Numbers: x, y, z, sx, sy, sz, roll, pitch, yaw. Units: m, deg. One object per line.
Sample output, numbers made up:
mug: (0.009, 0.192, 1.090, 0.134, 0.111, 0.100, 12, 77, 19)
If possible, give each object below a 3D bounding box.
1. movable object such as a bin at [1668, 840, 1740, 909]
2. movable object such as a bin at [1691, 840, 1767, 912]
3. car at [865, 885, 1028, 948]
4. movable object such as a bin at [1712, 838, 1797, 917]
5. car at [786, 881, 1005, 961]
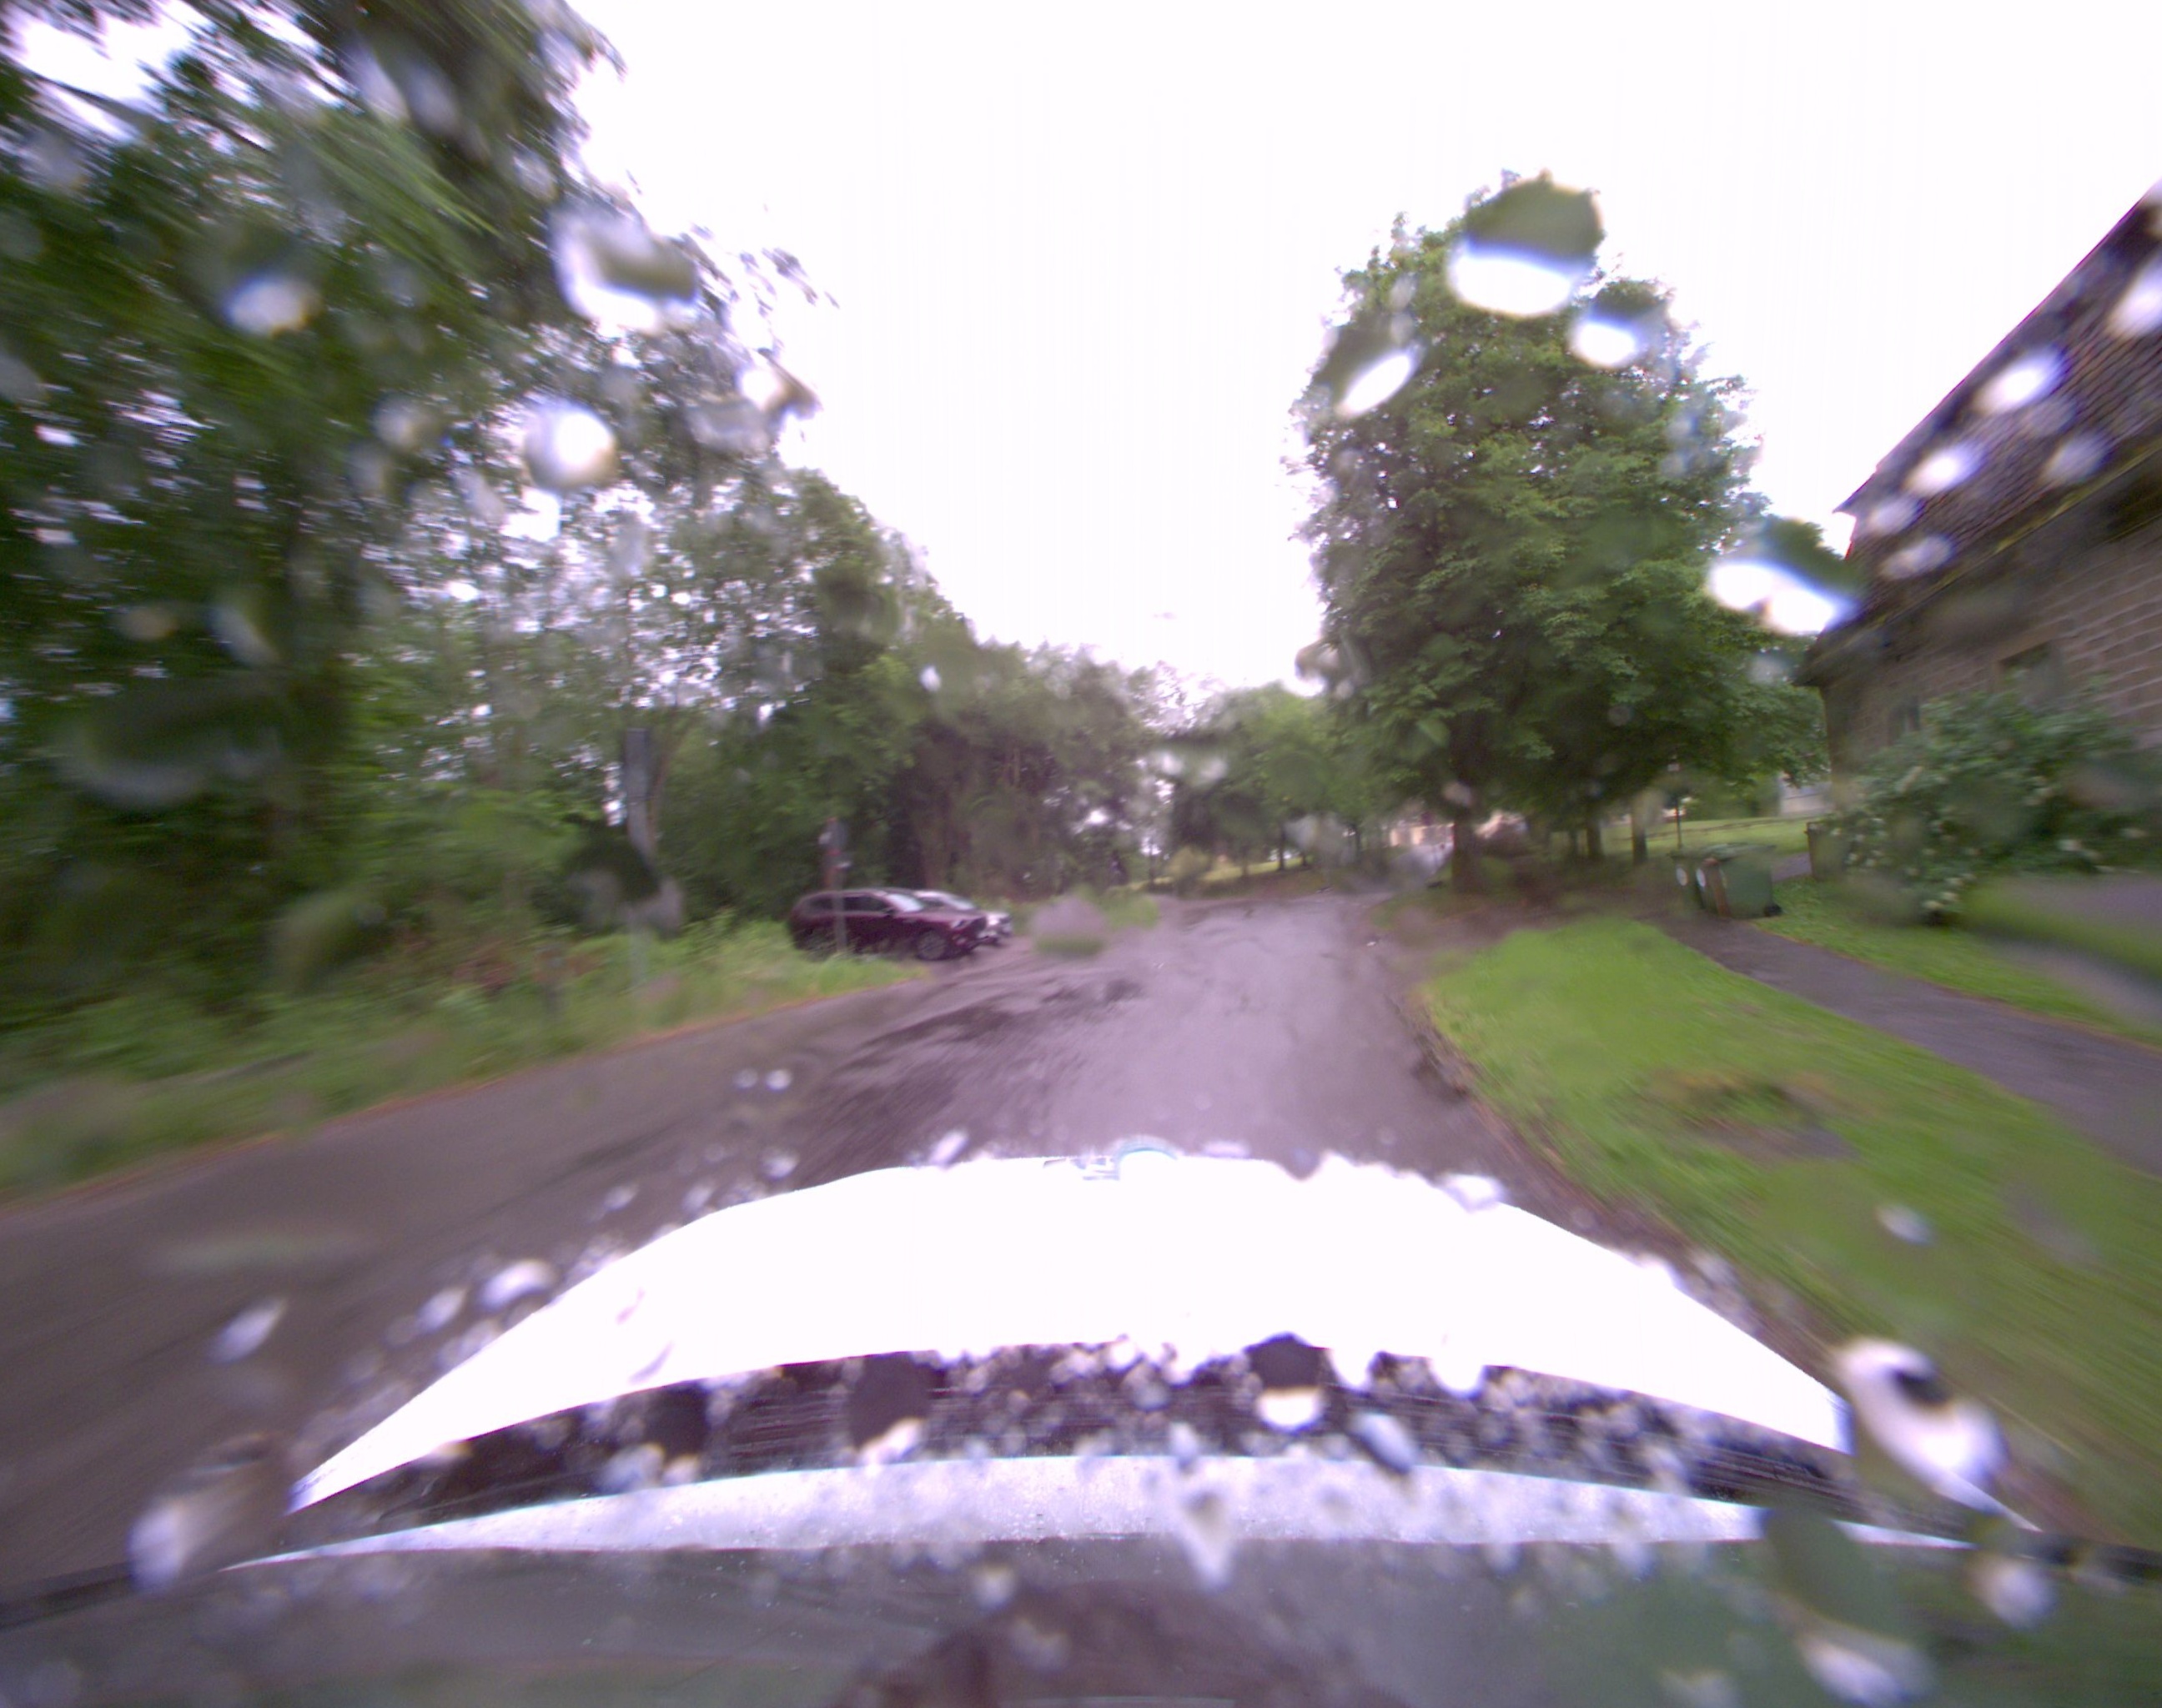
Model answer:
movable object such as a bin: (10.612, 0.349, 13.901, 0.689, 1.039, 0.664, -12, -5, 27)
movable object such as a bin: (10.491, 0.354, 13.205, 0.689, 1.039, 0.579, -12, -5, 27)
car: (-3.761, 1.749, 22.883, 4.102, 1.555, 1.782, -3, -1, 19)
movable object such as a bin: (9.942, 0.342, 12.053, 0.689, 1.039, 0.579, -12, -5, 27)
car: (-4.472, 1.614, 19.740, 4.786, 1.677, 1.885, -3, -1, 17)
